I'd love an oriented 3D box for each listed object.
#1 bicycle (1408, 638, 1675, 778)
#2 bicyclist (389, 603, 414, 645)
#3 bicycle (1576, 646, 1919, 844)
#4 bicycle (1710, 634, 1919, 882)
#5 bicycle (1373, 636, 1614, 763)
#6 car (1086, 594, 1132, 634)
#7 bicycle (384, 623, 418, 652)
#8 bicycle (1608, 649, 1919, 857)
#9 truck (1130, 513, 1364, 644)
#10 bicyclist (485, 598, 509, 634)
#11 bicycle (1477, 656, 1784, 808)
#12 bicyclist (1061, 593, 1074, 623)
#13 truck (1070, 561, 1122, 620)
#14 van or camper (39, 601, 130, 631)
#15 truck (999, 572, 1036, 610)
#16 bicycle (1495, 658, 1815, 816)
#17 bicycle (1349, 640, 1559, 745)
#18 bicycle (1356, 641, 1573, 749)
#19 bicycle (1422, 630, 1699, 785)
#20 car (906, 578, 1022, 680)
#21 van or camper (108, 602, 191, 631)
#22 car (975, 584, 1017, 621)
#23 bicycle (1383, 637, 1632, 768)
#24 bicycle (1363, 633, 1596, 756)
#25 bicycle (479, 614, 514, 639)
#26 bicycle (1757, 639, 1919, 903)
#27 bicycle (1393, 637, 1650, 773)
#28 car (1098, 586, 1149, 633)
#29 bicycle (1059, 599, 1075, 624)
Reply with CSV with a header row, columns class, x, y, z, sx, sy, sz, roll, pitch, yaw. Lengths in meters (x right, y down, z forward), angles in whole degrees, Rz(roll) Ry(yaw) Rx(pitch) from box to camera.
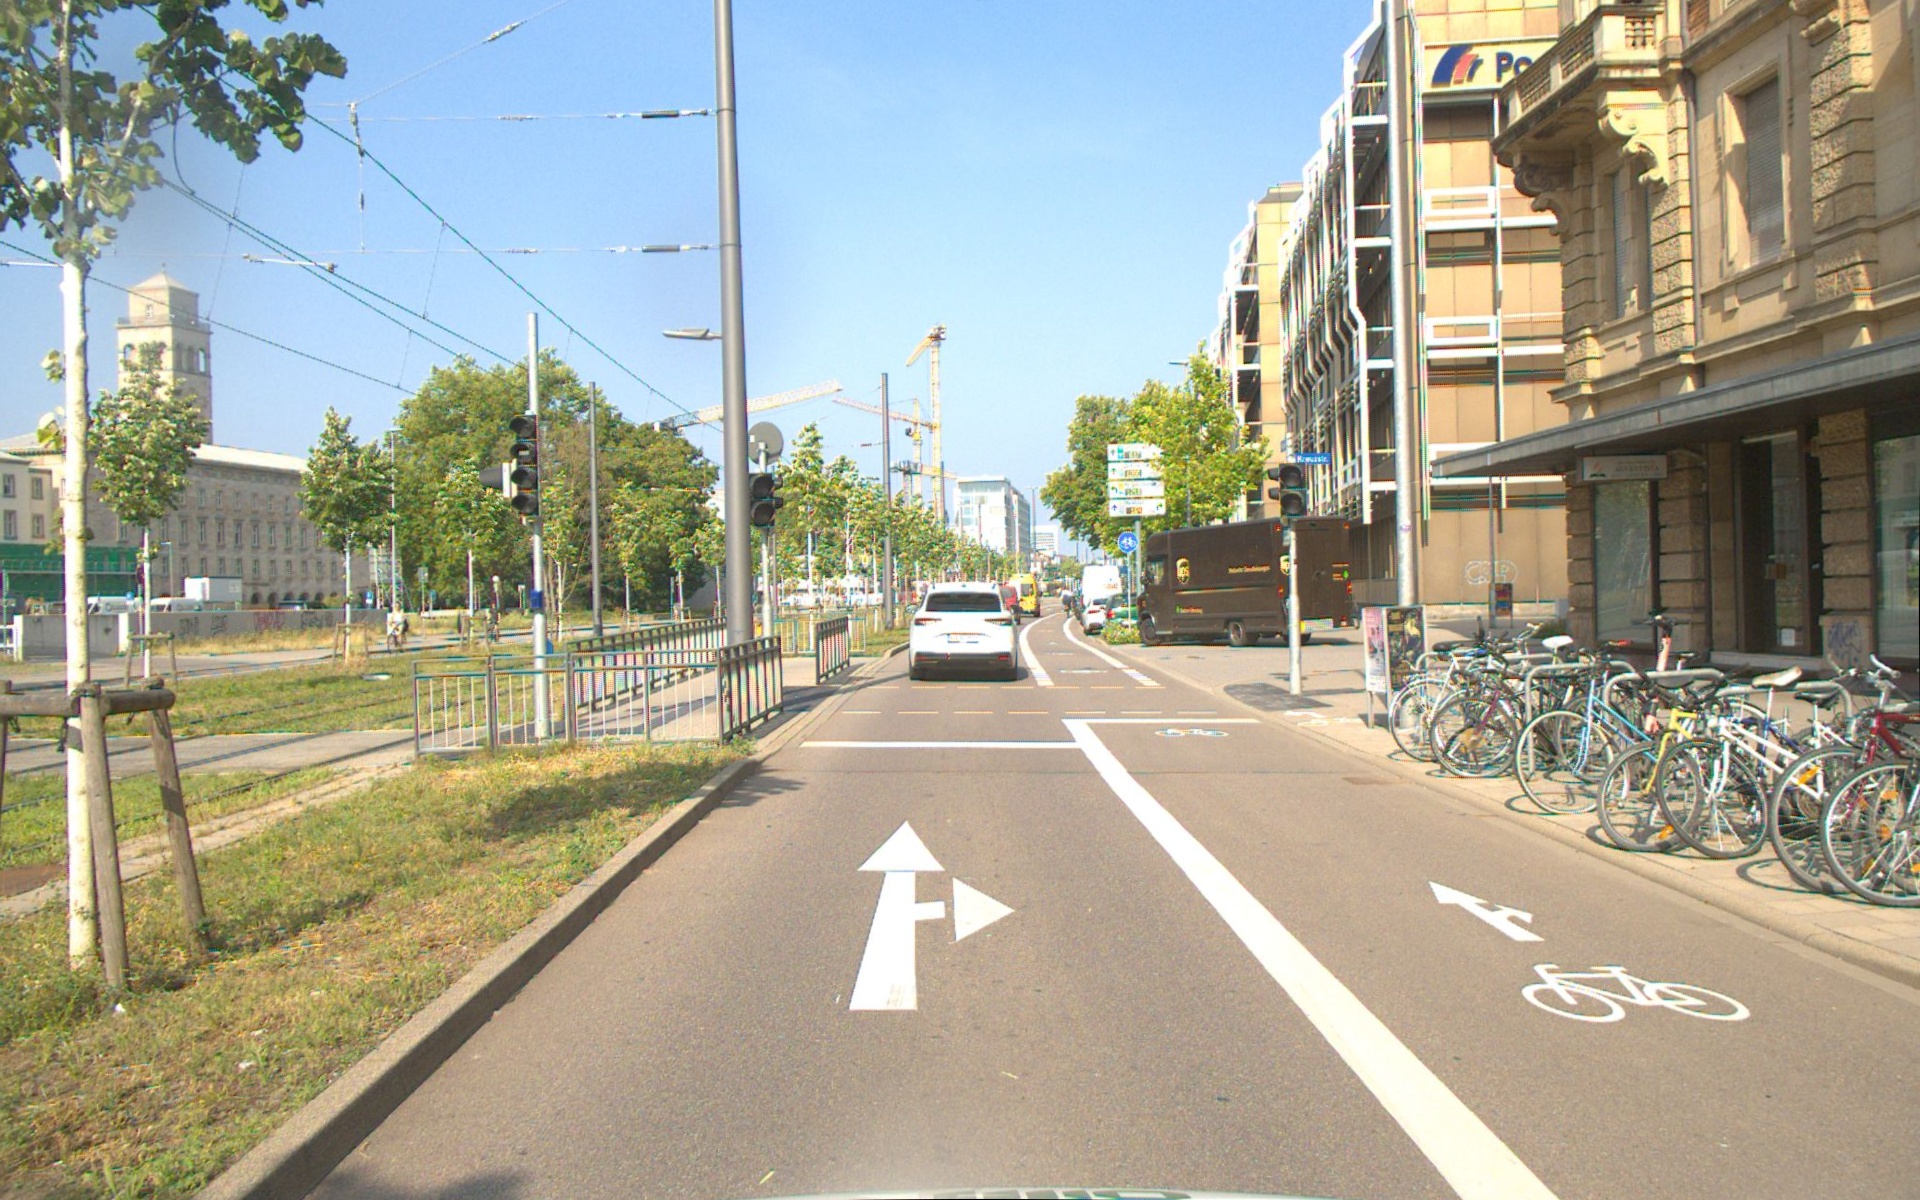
class,x,y,z,sx,sy,sz,roll,pitch,yaw
bicycle,4.553,0.844,13.014,1.894,0.962,0.441,-3,0,1
bicyclist,-19.904,0.854,58.969,0.527,1.447,0.900,-1,0,1
bicycle,4.687,0.838,9.717,1.916,1.003,0.470,-3,0,-1
bicycle,4.990,0.736,8.285,2.194,1.123,0.519,-3,0,-1
bicycle,4.604,0.857,14.322,1.894,0.962,0.429,-3,0,1
car,5.482,0.486,61.154,1.615,1.409,3.528,-1,0,4
bicycle,-19.891,1.334,58.892,0.527,0.975,1.918,-1,0,1
bicycle,4.681,0.834,9.237,1.895,1.003,0.470,-3,0,-1
truck,7.160,-0.523,42.349,2.477,3.064,6.907,-1,0,-24
bicyclist,-19.908,0.672,71.166,0.681,1.542,1.186,-1,0,0
bicycle,4.585,0.898,11.358,1.895,0.889,0.440,-3,0,-1
bicyclist,6.870,0.514,105.559,0.694,1.929,0.843,-1,0,-1
truck,6.141,-0.413,74.906,1.953,2.552,3.999,-1,0,-1
van or camper,-65.783,1.194,124.387,2.501,2.122,6.444,-1,0,12
truck,3.747,-0.590,108.688,2.168,2.358,5.889,-1,0,-1
bicycle,4.568,0.894,10.914,1.895,0.889,0.440,-3,0,-1
bicycle,4.740,0.884,15.910,1.848,0.878,0.429,-3,0,1
bicycle,4.703,0.879,15.466,1.848,0.878,0.429,-3,0,1
bicycle,4.540,0.807,12.558,1.894,1.030,0.441,-3,0,1
car,0.000,0.463,28.617,1.781,1.617,4.404,-1,0,-3
van or camper,-64.287,1.286,131.298,2.501,2.122,6.444,-1,0,12
car,1.808,0.093,81.254,1.952,1.713,4.370,-1,0,2
bicycle,4.578,0.853,13.878,1.894,0.962,0.429,-3,0,1
bicycle,4.626,0.837,14.787,1.894,0.962,0.429,-3,0,1
bicycle,-19.891,1.115,70.980,0.681,1.008,2.824,-1,0,0
bicycle,4.989,0.731,7.738,2.194,1.123,0.588,-3,0,-1
bicycle,4.565,0.849,13.494,1.894,0.962,0.441,-3,0,1
car,5.576,0.298,56.679,1.615,1.525,3.528,-1,0,4
bicycle,6.867,0.731,105.855,0.766,1.522,2.800,-1,0,-1
